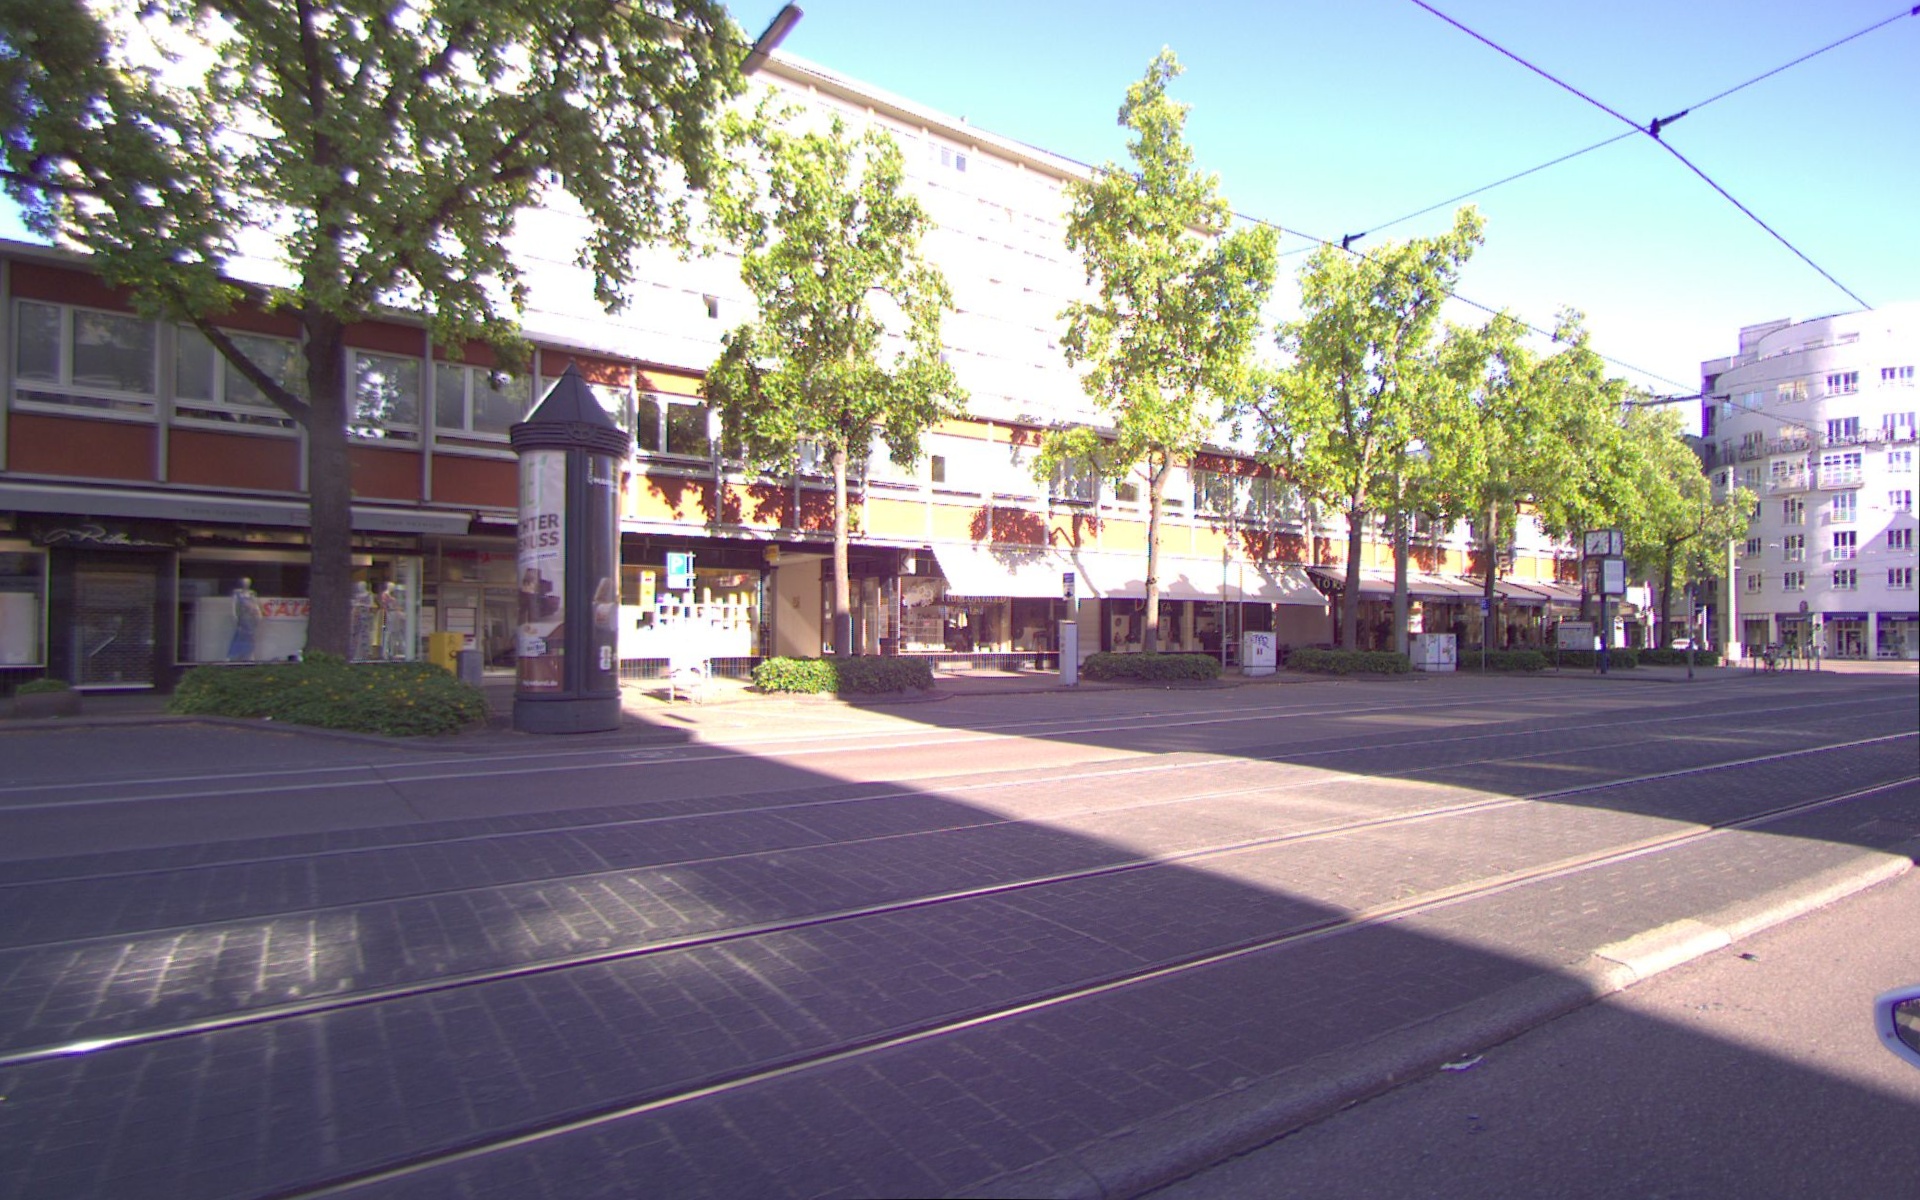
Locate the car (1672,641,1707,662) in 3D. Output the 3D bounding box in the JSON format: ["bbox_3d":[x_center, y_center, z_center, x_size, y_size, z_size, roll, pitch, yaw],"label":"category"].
[{"bbox_3d":[57.300,4.024,78.852,1.778,1.421,4.078,-1,0,43],"label":"car"}]

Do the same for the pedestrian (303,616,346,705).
[{"bbox_3d":[-12.985,1.228,20.540,0.698,1.773,0.569,1,-2,-32],"label":"pedestrian"}]

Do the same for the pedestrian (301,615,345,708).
[{"bbox_3d":[-12.671,1.211,20.005,0.698,1.795,0.569,1,-2,-32],"label":"pedestrian"}]

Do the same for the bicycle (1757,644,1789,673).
[{"bbox_3d":[34.517,2.459,42.641,2.213,1.202,0.494,1,-2,-35],"label":"bicycle"}]
